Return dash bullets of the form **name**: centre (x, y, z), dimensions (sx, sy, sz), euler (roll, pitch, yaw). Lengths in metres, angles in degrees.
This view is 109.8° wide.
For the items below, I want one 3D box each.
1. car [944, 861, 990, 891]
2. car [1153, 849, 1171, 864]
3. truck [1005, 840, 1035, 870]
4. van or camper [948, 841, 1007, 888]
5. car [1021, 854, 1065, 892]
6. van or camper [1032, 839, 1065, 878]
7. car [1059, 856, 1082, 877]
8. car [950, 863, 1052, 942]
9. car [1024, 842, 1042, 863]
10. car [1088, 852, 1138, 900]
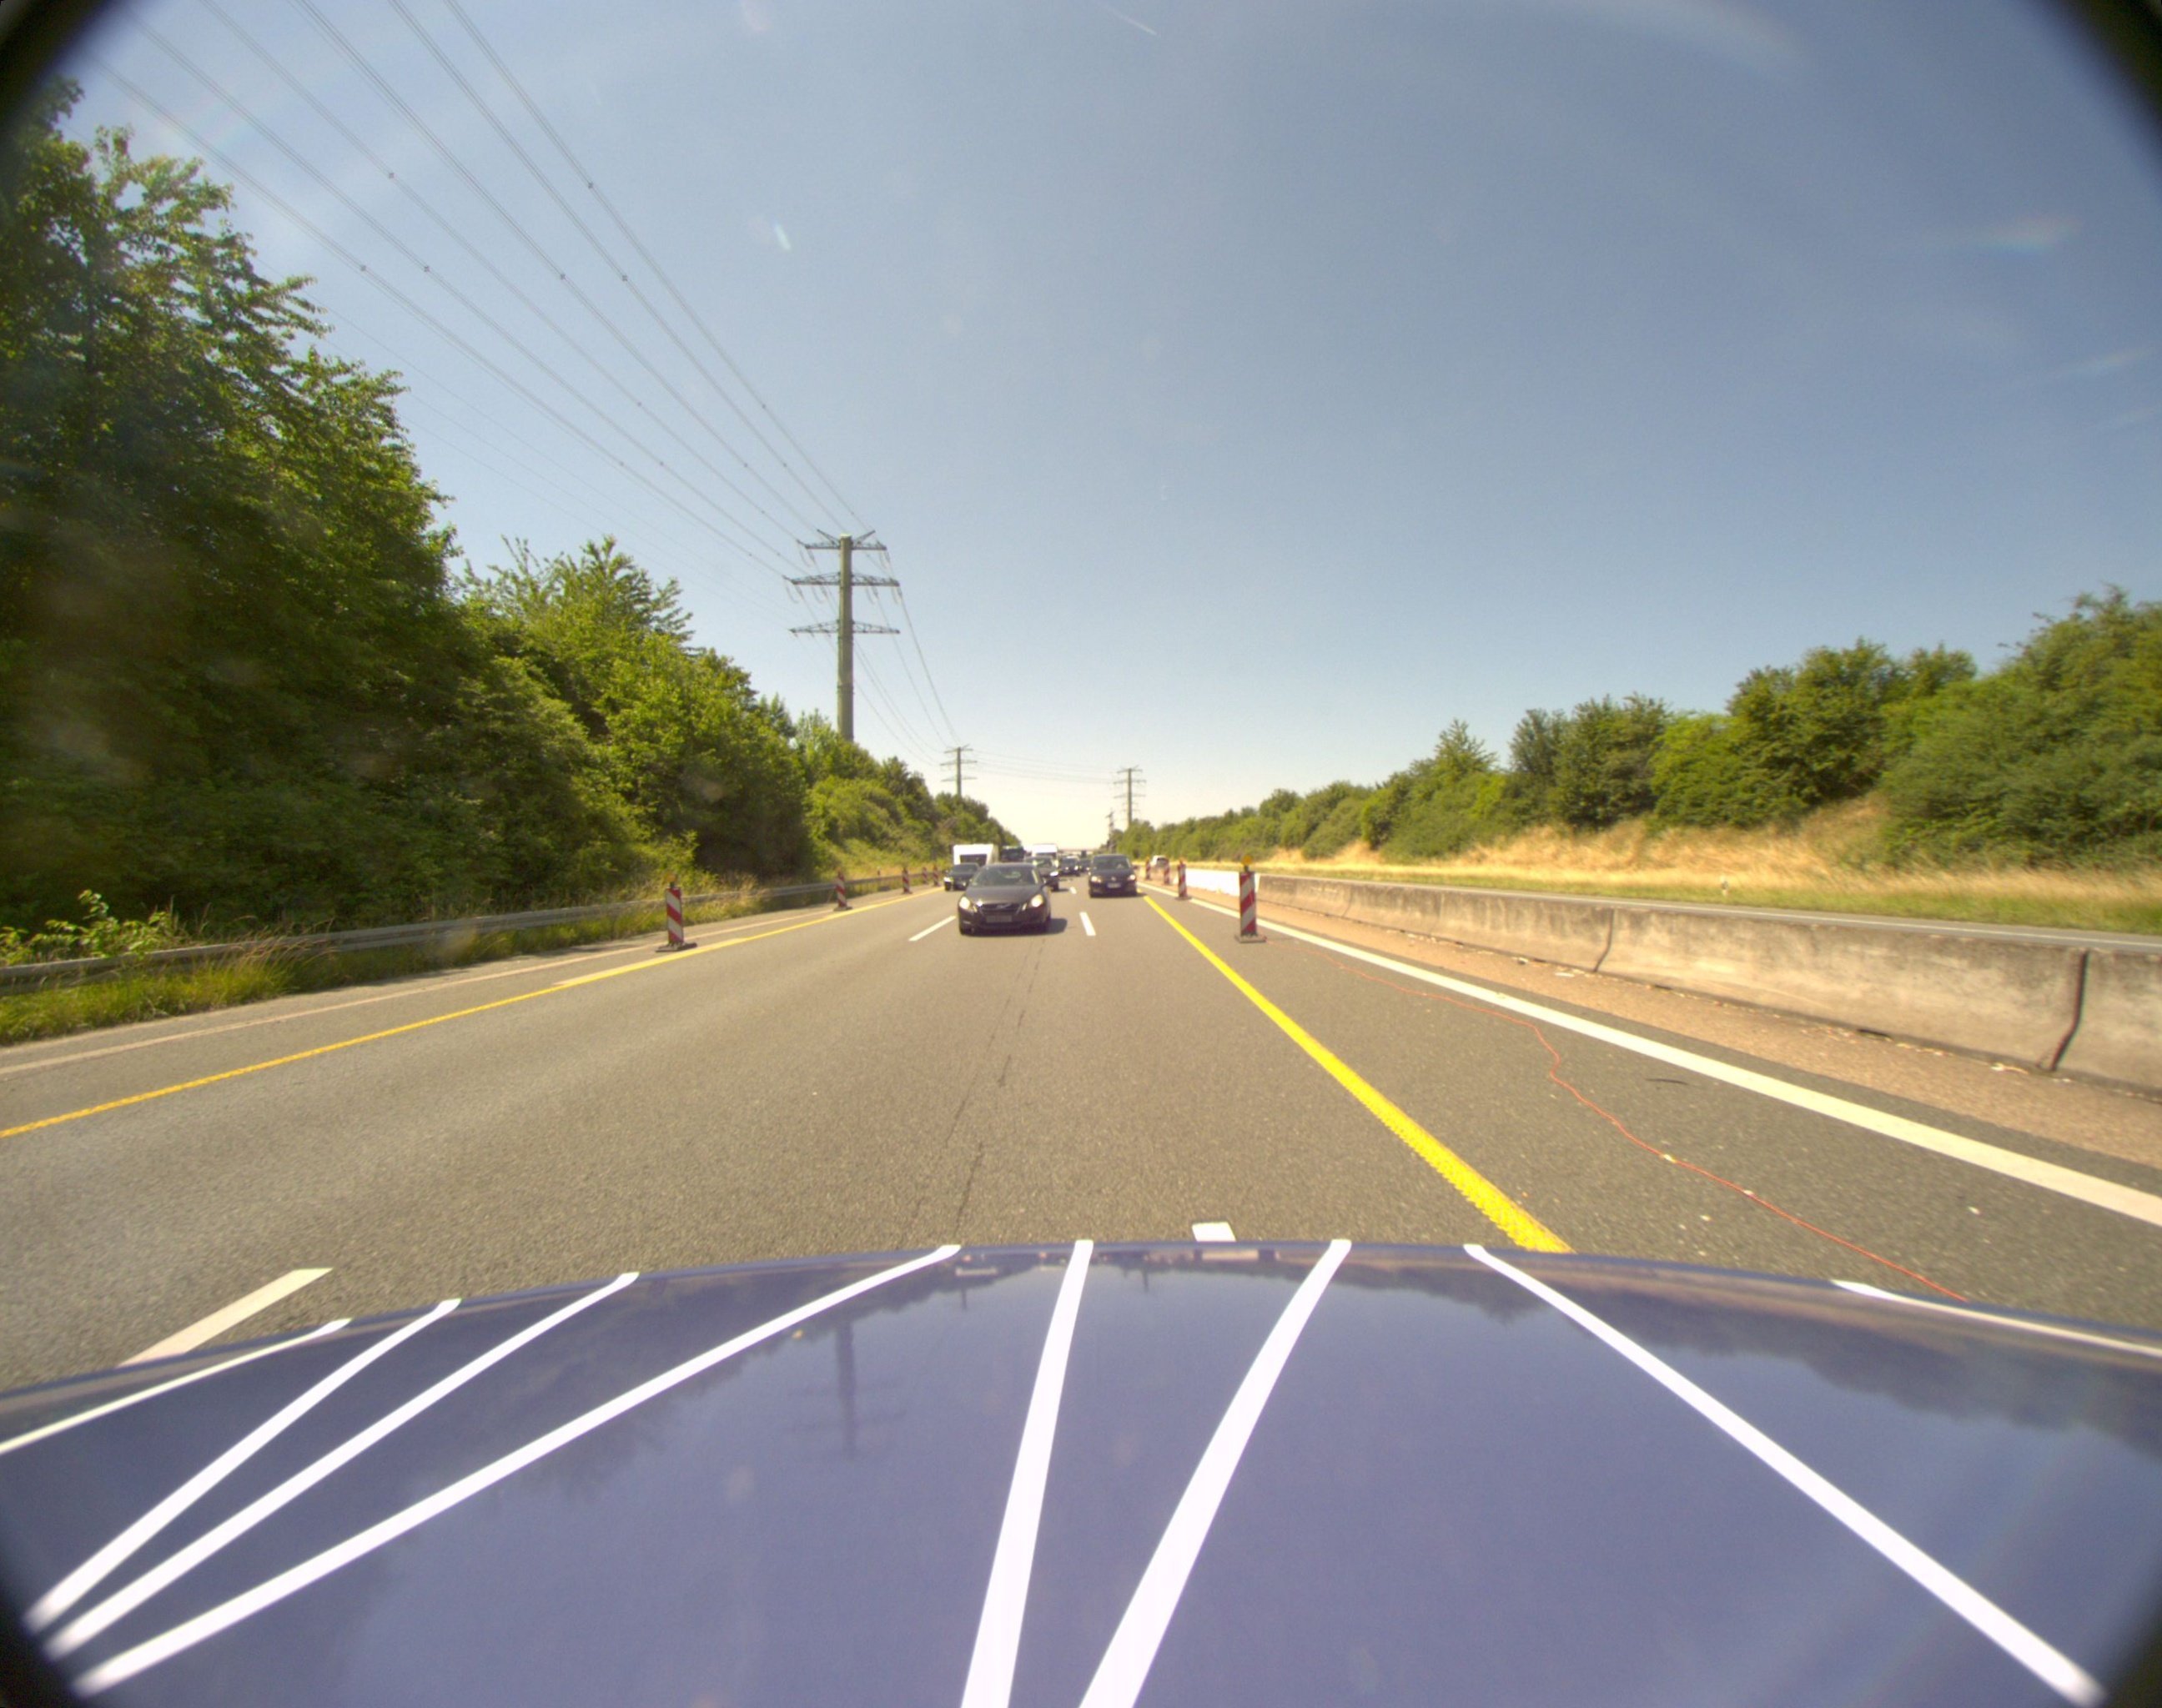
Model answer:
- **car**: centre (-5.988, 1.130, 40.359), dimensions (1.801, 1.399, 4.209), euler (-2, 0, 0)
- **car**: centre (11.155, 0.319, 104.860), dimensions (1.968, 2.073, 4.937), euler (0, 1, 0)
- **truck**: centre (-7.067, 0.116, 88.751), dimensions (2.431, 3.122, 7.648), euler (-4, 0, 1)
- **van or camper**: centre (-6.201, 0.566, 46.686), dimensions (2.432, 2.549, 8.416), euler (-2, 0, 0)
- **car**: centre (-1.737, 0.847, 35.786), dimensions (1.744, 1.658, 4.157), euler (-2, 0, 1)
- **van or camper**: centre (-2.239, 0.319, 53.630), dimensions (1.998, 2.604, 5.629), euler (0, 0, 1)
- **car**: centre (-0.901, 0.982, 61.846), dimensions (1.745, 1.658, 4.156), euler (-2, 0, -2)
- **car**: centre (-1.645, 0.979, 16.914), dimensions (1.799, 1.432, 4.000), euler (-2, 0, 0)
- **car**: centre (-8.811, -0.294, 140.435), dimensions (2.397, 3.779, 10.272), euler (-2, 0, 0)
- **car**: centre (1.192, 0.781, 29.260), dimensions (1.675, 1.619, 4.691), euler (-3, 0, 1)
